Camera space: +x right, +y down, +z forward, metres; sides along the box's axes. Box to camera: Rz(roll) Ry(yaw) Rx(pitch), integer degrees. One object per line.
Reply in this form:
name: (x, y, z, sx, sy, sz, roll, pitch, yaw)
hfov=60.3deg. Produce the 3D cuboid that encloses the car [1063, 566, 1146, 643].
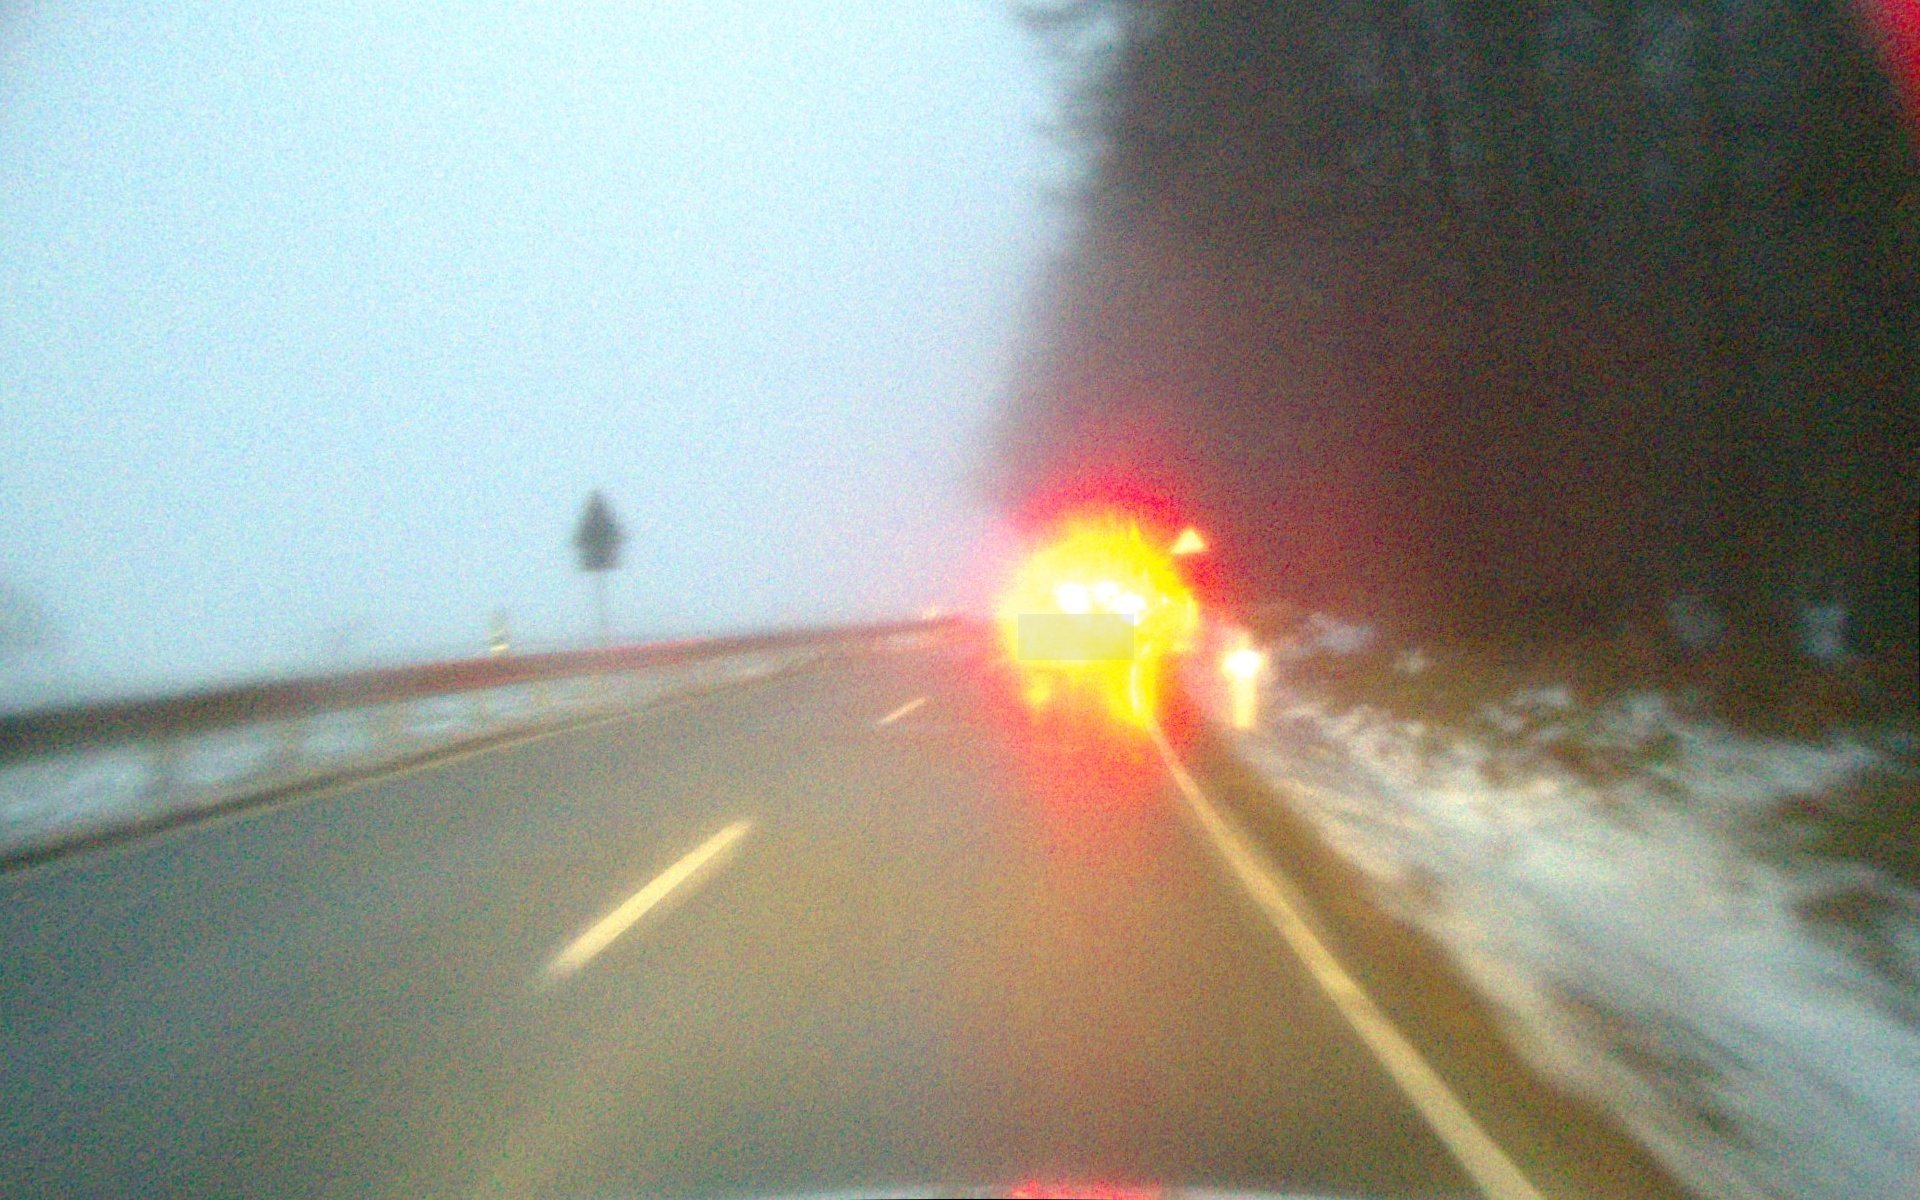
car: (3.634, 0.090, 41.647, 1.951, 1.814, 4.003, -1, 0, 5)

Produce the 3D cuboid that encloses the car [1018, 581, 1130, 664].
car: (2.129, 0.387, 30.236, 1.904, 1.405, 4.002, 0, 0, 5)
